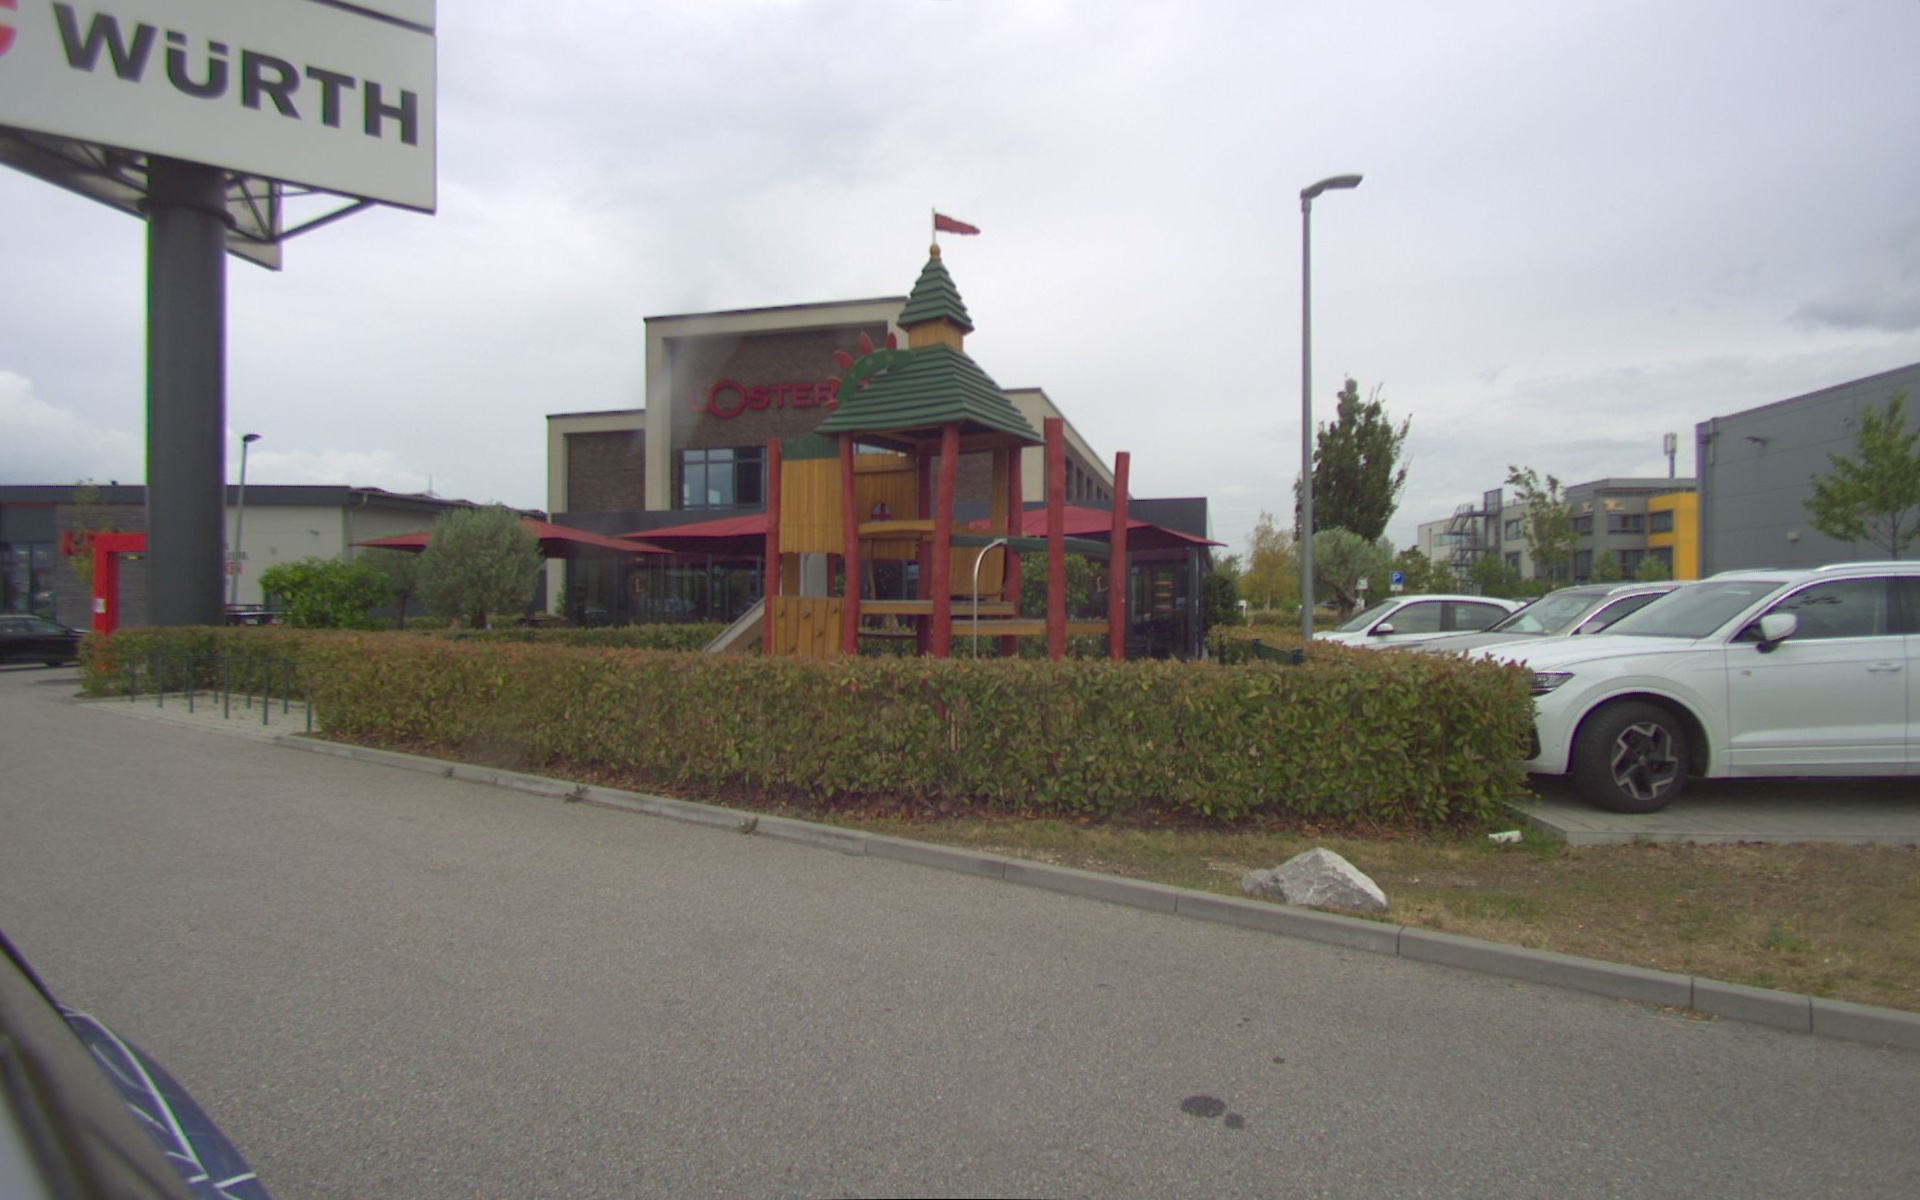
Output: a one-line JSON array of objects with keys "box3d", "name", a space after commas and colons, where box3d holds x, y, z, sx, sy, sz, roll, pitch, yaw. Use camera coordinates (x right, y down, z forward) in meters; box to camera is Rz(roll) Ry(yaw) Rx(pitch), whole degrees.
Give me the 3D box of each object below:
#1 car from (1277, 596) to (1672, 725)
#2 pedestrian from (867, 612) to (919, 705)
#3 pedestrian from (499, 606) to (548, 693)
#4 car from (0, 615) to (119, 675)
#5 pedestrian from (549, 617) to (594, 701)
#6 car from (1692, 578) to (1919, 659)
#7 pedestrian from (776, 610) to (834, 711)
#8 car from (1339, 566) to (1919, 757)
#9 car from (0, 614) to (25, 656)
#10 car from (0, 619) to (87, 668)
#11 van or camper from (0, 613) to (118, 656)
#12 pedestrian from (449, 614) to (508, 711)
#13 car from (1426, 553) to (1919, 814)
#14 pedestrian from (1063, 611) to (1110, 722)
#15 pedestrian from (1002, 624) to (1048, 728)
[{"box3d": [7.014, 0.808, 14.314, 4.524, 1.663, 1.995, 0, -2, 8], "name": "car"}, {"box3d": [-1.319, 1.133, 19.830, 0.703, 1.761, 0.733, -1, -3, 39], "name": "pedestrian"}, {"box3d": [-9.029, 1.014, 20.945, 0.693, 1.761, 0.743, 0, -2, -4], "name": "pedestrian"}, {"box3d": [-26.563, 1.251, 28.562, 1.725, 1.540, 4.103, 0, 0, 15], "name": "car"}, {"box3d": [-8.304, 1.255, 21.647, 0.693, 1.761, 0.743, 0, -2, -4], "name": "pedestrian"}, {"box3d": [18.911, 0.413, 21.749, 4.743, 1.651, 1.997, 0, -2, 4], "name": "car"}, {"box3d": [-2.788, 1.079, 18.198, 0.703, 1.761, 0.733, -1, -3, 39], "name": "pedestrian"}, {"box3d": [6.401, 0.565, 10.113, 4.524, 1.663, 1.995, 0, -2, 8], "name": "car"}, {"box3d": [-35.241, 1.296, 35.000, 1.743, 1.498, 3.919, -1, 1, 16], "name": "car"}, {"box3d": [-30.731, 1.398, 32.156, 1.982, 1.497, 4.158, -1, -1, 16], "name": "car"}, {"box3d": [-63.484, 2.386, 70.944, 6.460, 2.721, 2.179, -1, -1, -27], "name": "van or camper"}, {"box3d": [-9.015, 1.157, 18.944, 0.741, 1.761, 0.695, -1, -3, 34], "name": "pedestrian"}, {"box3d": [6.168, 0.565, 7.468, 4.524, 1.663, 1.995, 0, -2, 8], "name": "car"}, {"box3d": [2.078, 1.070, 16.561, 0.696, 1.761, 0.740, 0, -2, 12], "name": "pedestrian"}, {"box3d": [1.129, 1.303, 17.575, 0.696, 1.761, 0.740, 0, -2, 12], "name": "pedestrian"}]
